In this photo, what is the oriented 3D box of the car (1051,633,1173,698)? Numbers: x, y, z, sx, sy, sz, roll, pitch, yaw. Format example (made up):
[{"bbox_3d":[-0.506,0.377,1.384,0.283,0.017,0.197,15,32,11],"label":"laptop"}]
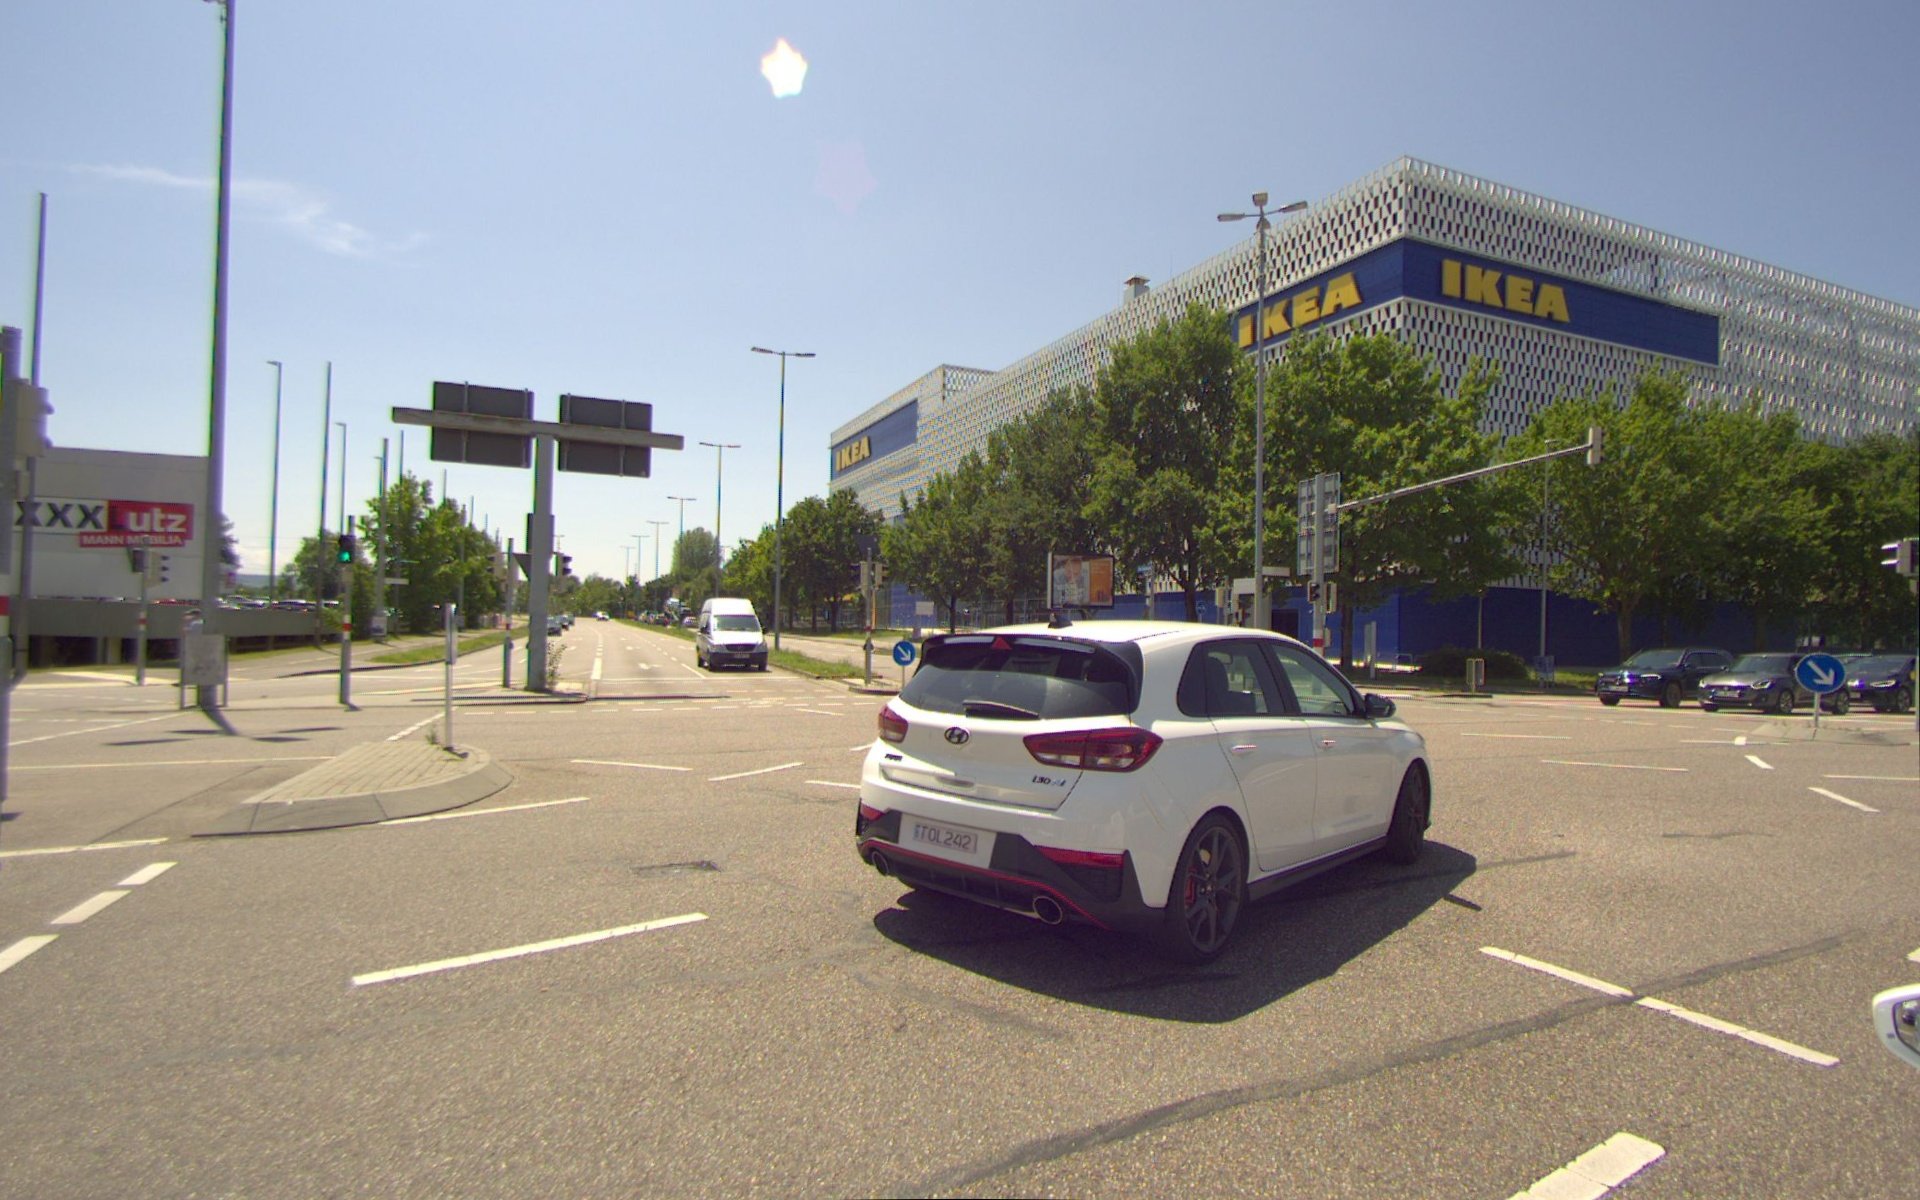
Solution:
[{"bbox_3d":[3.712,1.631,25.399,1.770,1.459,4.552,2,-3,-8],"label":"car"}]

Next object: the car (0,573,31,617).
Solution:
[{"bbox_3d":[-47.485,-0.286,47.832,4.276,2.040,1.986,2,-2,-28],"label":"car"}]

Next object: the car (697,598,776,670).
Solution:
[{"bbox_3d":[-7.512,1.111,33.388,1.969,2.212,5.028,1,-1,-19],"label":"car"}]

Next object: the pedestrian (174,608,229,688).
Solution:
[{"bbox_3d":[-17.473,1.101,23.162,0.814,1.807,0.602,2,-1,-21],"label":"pedestrian"}]

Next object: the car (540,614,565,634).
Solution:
[{"bbox_3d":[-33.116,1.918,81.625,1.833,1.528,3.979,2,-2,-22],"label":"car"}]

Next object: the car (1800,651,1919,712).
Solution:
[{"bbox_3d":[24.855,2.200,27.065,4.184,1.524,1.723,3,-4,-24],"label":"car"}]

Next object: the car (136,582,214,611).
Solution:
[{"bbox_3d":[-60.295,-0.243,77.250,4.269,2.040,1.989,2,-2,-24],"label":"car"}]

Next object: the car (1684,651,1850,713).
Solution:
[{"bbox_3d":[19.633,1.984,24.439,3.664,1.407,1.640,3,-4,-24],"label":"car"}]

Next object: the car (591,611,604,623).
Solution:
[{"bbox_3d":[-61.823,2.858,171.329,1.790,2.040,3.978,2,-2,-23],"label":"car"}]

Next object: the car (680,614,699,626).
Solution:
[{"bbox_3d":[-38.074,2.788,141.186,1.972,1.572,3.978,2,-2,-23],"label":"car"}]

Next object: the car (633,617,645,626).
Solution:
[{"bbox_3d":[-54.697,3.659,170.899,1.605,1.369,3.479,2,-2,-23],"label":"car"}]

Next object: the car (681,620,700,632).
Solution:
[{"bbox_3d":[-36.236,3.513,135.019,1.971,1.572,3.980,2,-2,-22],"label":"car"}]

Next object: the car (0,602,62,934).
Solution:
[{"bbox_3d":[-5.986,0.659,3.121,4.405,1.423,1.667,2,-1,-24],"label":"car"}]

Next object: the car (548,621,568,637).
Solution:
[{"bbox_3d":[-43.418,3.109,108.518,1.870,1.652,3.810,2,-2,-23],"label":"car"}]

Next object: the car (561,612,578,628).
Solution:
[{"bbox_3d":[-53.771,2.696,138.316,1.970,2.040,3.981,2,1,-20],"label":"car"}]

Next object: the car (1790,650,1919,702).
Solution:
[{"bbox_3d":[28.845,2.454,32.383,3.862,1.564,1.722,3,-3,-25],"label":"car"}]

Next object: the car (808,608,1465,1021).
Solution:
[{"bbox_3d":[1.295,0.831,5.736,1.768,1.455,4.047,1,0,43],"label":"car"}]

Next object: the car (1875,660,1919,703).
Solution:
[{"bbox_3d":[33.830,2.797,34.642,4.561,1.441,1.741,2,-3,-25],"label":"car"}]

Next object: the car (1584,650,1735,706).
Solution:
[{"bbox_3d":[19.277,2.152,27.672,3.984,1.442,1.656,3,-3,-25],"label":"car"}]

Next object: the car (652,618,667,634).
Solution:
[{"bbox_3d":[-40.453,3.524,135.156,1.746,2.040,3.820,2,-2,-20],"label":"car"}]

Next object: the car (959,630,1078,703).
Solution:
[{"bbox_3d":[1.177,1.389,22.017,1.668,1.441,4.001,0,-2,-11],"label":"car"}]
